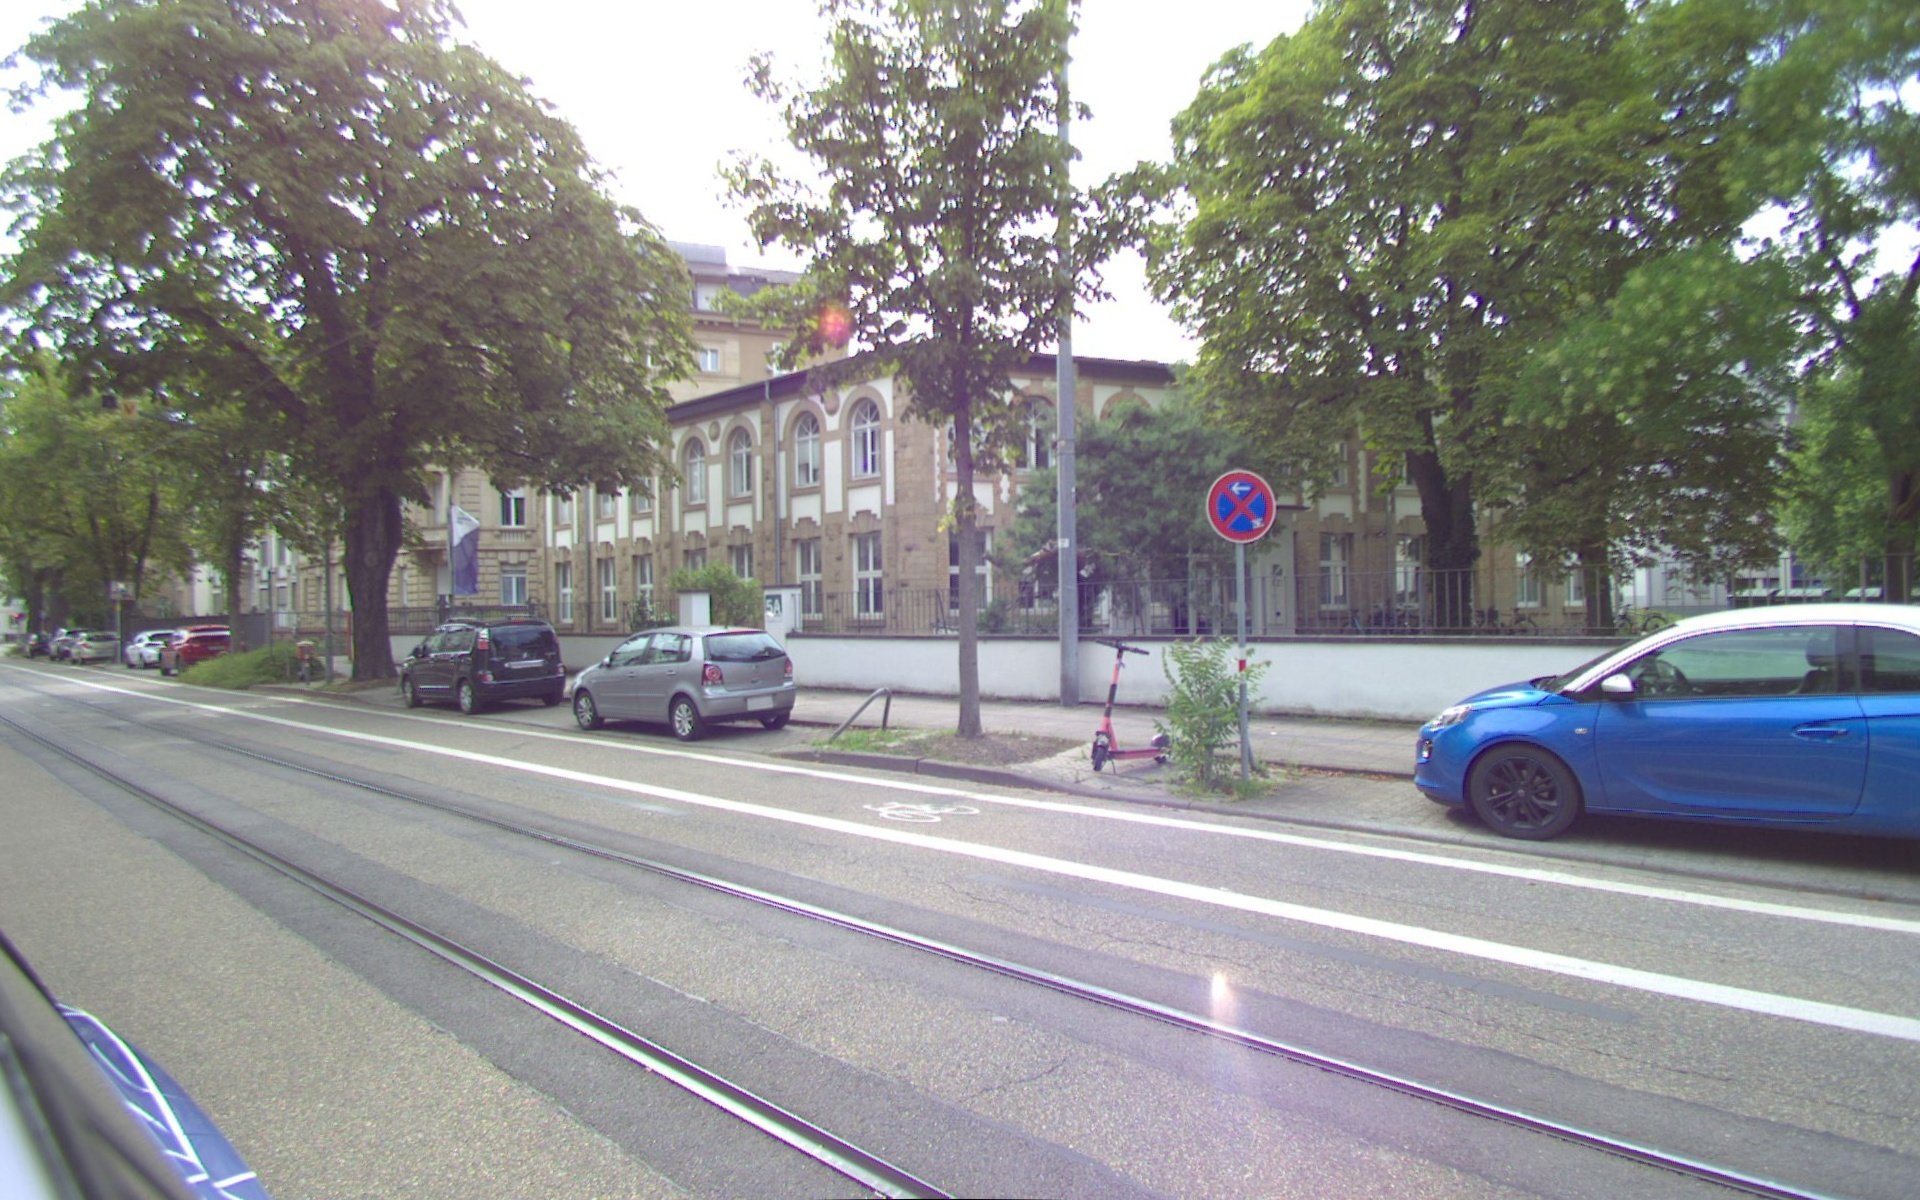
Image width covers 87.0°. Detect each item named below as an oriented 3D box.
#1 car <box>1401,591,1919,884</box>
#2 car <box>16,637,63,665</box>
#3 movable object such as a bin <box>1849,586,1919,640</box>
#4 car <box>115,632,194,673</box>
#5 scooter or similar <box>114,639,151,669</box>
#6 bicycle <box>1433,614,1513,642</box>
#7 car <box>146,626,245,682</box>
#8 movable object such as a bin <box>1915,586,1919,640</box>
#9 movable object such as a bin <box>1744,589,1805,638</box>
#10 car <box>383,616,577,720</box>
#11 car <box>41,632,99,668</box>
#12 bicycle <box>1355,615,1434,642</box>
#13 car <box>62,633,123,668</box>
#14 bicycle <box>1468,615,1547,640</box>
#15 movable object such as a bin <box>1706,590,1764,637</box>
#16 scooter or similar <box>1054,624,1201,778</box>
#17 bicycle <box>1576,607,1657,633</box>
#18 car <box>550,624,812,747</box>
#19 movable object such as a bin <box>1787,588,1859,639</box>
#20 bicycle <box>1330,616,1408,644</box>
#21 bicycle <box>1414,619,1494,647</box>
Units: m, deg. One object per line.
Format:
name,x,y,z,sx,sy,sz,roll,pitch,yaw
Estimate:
car,4.970,0.727,6.367,3.675,1.498,1.675,-2,0,41
car,-54.377,2.985,59.759,4.166,1.435,1.701,-2,1,44
movable object such as a bin,24.974,0.343,27.282,0.846,1.385,1.208,-2,0,-22
car,-32.003,2.071,40.196,4.021,1.434,1.704,-2,1,41
scooter or similar,-34.524,2.246,42.230,1.313,1.232,0.559,-2,-1,19
bicycle,15.206,0.818,30.051,0.702,0.779,2.053,-2,0,-28
car,-25.749,1.768,34.048,4.540,1.667,1.704,-2,1,41
movable object such as a bin,25.401,0.321,25.890,0.846,1.385,1.097,-2,0,-22
movable object such as a bin,23.976,0.391,29.798,0.954,1.385,1.024,-2,0,-22
car,-8.913,1.187,18.653,4.050,1.659,1.737,-2,0,41
car,-45.627,2.545,51.836,4.355,1.686,1.692,-2,-1,42
bicycle,12.316,0.804,28.756,0.702,0.713,2.053,-2,0,-28
car,-39.953,2.292,46.576,4.077,1.479,1.584,-2,-1,42
bicycle,16.724,0.834,30.923,2.042,0.713,0.706,-2,0,35
movable object such as a bin,23.588,0.409,30.821,0.954,1.385,1.024,-2,0,-22
scooter or similar,1.624,0.907,9.672,0.700,1.354,1.427,-2,-3,43
bicycle,20.743,0.638,32.017,0.702,0.779,2.053,-2,0,-28
car,-4.007,1.106,14.226,3.866,1.438,1.675,-2,0,41
movable object such as a bin,24.383,0.370,28.615,0.954,1.385,1.208,-2,0,-22
bicycle,11.446,0.832,28.399,0.702,0.713,2.053,-2,0,-28
bicycle,14.400,0.958,29.560,0.702,0.779,2.053,-2,0,-28
